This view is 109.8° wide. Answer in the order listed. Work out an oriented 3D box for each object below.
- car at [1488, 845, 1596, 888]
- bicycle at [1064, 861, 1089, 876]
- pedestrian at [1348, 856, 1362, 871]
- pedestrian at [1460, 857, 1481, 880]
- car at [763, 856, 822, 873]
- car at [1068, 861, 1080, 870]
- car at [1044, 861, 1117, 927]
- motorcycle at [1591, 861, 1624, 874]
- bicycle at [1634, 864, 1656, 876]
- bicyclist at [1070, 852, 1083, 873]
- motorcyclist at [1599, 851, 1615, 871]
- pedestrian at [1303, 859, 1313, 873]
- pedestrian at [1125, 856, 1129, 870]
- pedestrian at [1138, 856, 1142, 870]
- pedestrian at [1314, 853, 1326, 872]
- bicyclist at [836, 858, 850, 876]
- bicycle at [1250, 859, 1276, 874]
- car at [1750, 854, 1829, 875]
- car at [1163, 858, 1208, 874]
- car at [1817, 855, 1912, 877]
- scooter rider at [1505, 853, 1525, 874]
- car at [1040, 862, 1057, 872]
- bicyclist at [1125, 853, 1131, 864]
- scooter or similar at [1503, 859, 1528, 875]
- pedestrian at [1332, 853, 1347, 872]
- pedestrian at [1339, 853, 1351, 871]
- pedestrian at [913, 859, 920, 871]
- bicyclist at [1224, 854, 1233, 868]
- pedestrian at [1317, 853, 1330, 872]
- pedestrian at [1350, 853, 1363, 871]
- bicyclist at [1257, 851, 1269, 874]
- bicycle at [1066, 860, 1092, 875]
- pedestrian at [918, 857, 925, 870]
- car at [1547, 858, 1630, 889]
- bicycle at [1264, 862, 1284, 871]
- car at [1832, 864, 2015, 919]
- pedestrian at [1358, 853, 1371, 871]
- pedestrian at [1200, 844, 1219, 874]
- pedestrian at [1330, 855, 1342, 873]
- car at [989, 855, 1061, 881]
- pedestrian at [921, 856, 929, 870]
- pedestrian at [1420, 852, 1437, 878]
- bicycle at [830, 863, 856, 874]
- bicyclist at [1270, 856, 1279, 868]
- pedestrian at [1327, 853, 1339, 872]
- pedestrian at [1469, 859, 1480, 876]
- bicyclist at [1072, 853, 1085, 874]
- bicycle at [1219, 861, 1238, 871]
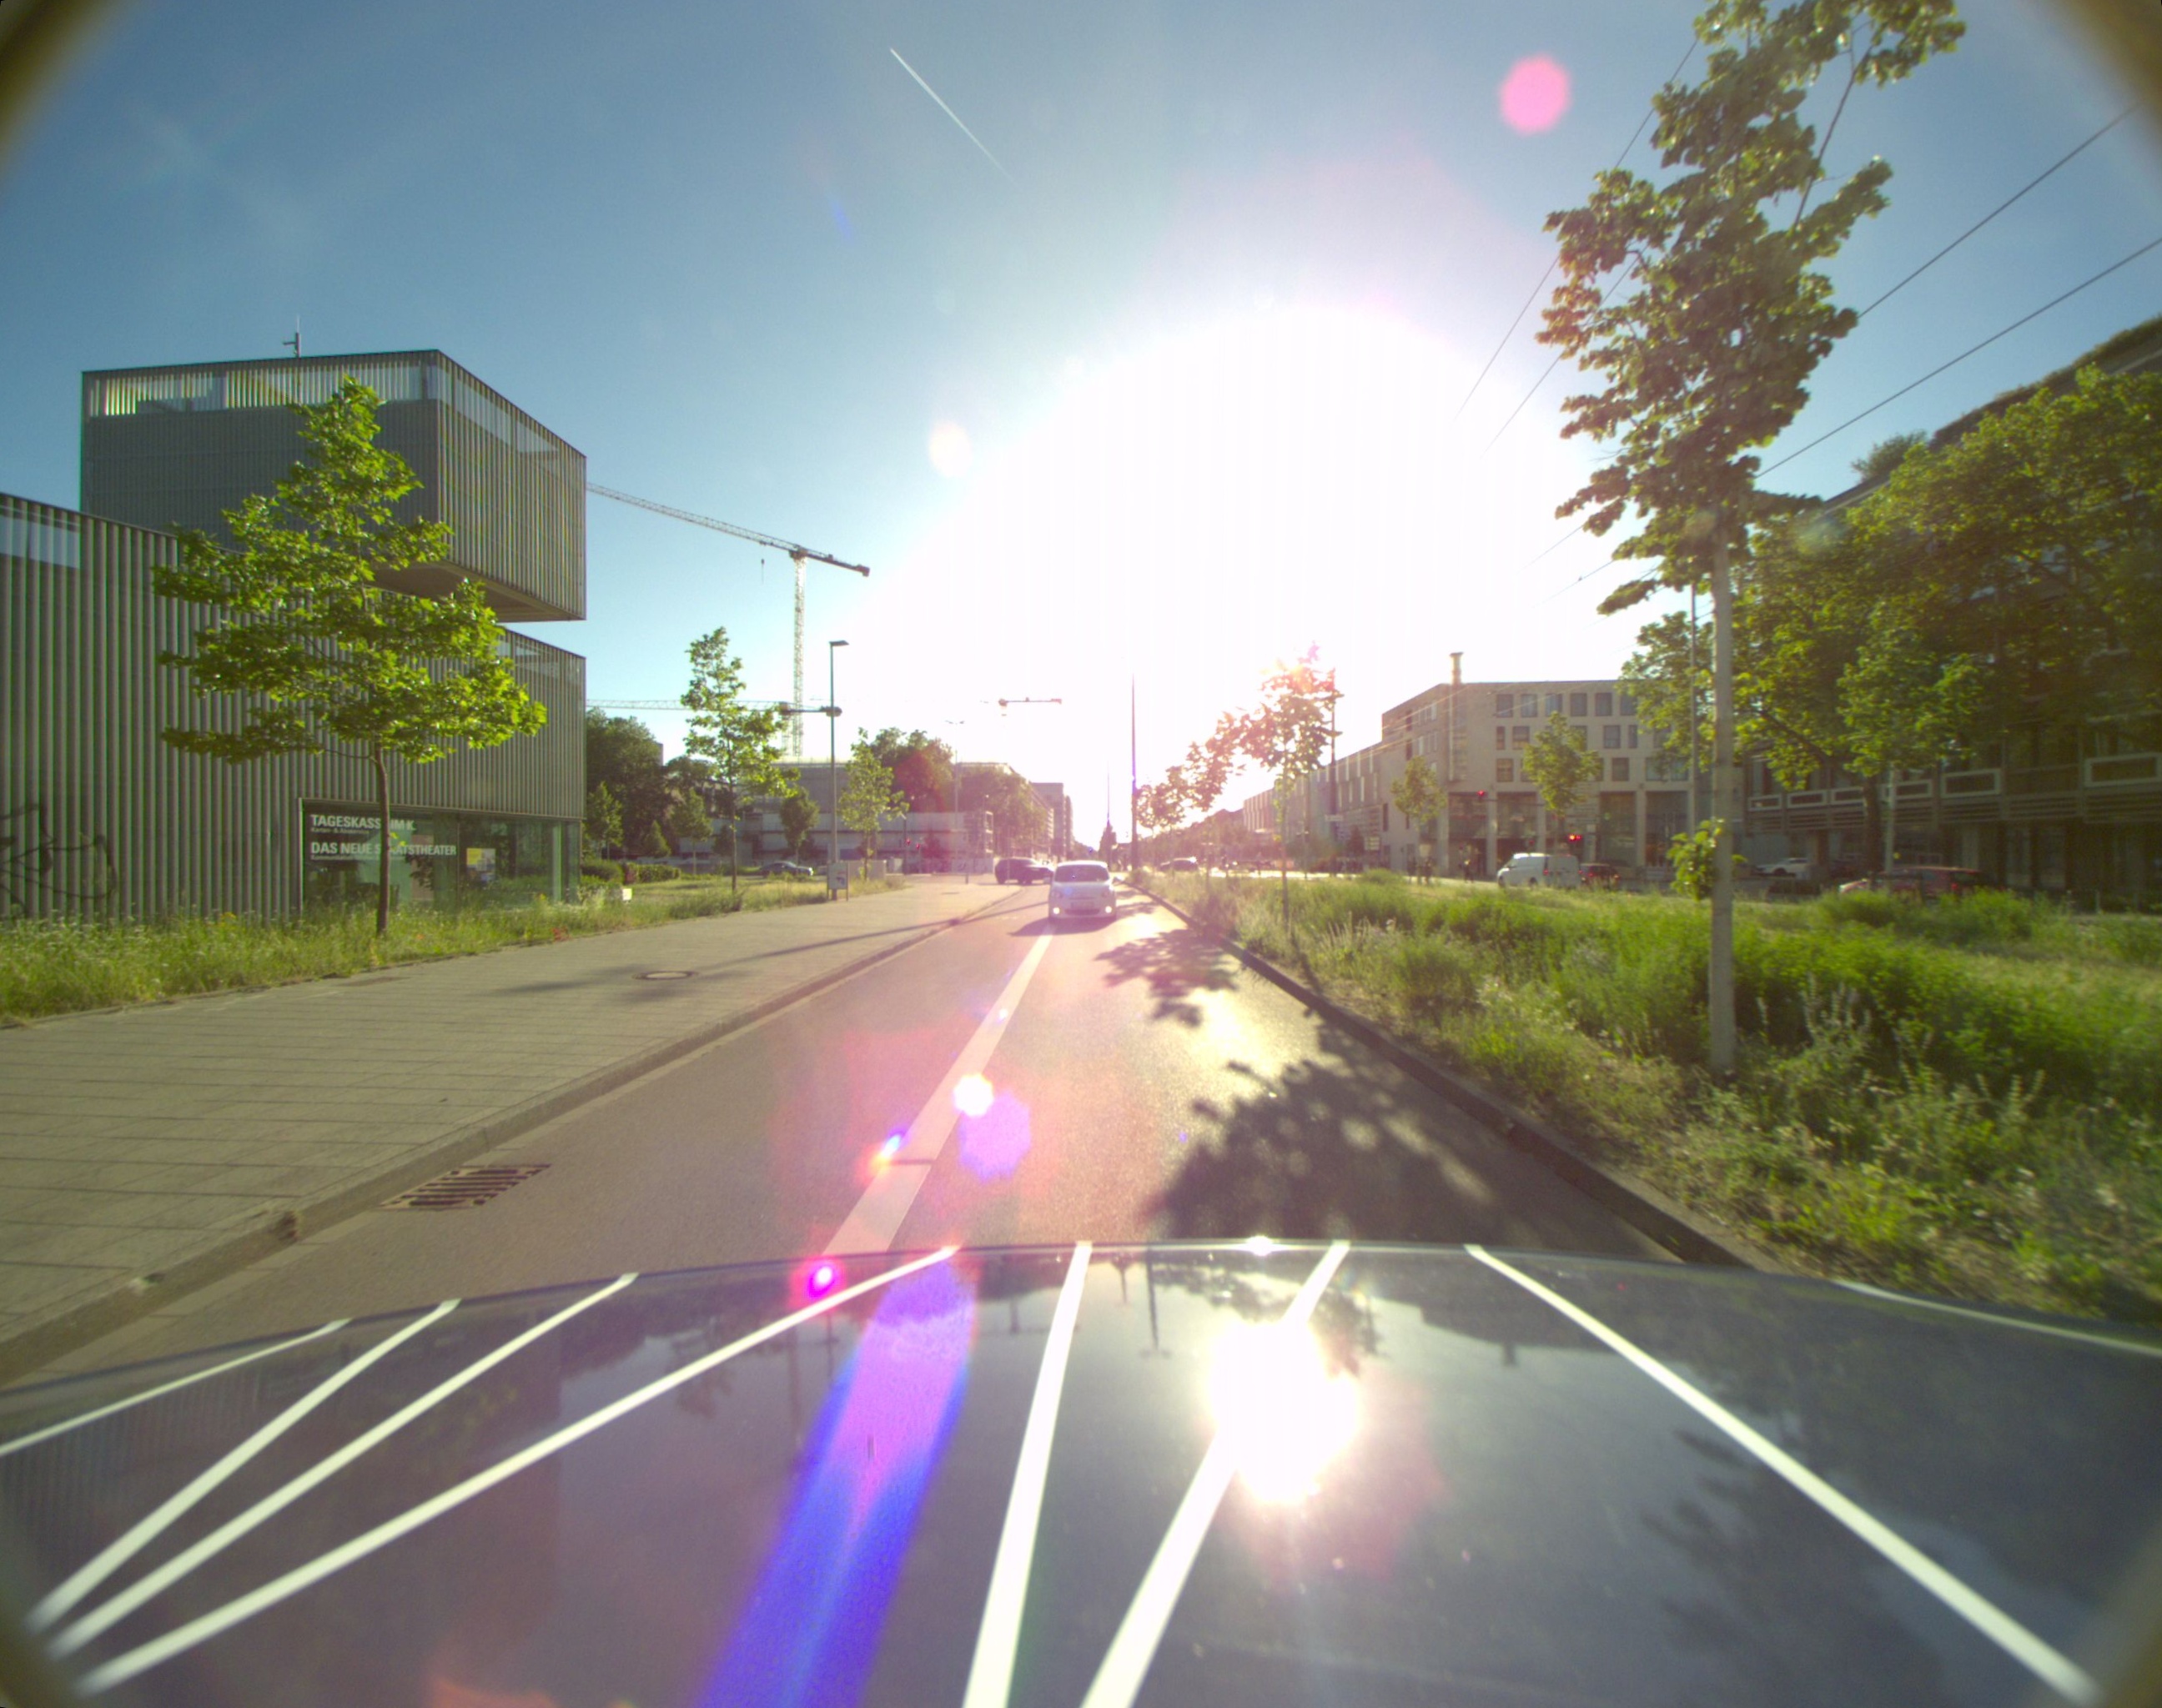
[{"bbox_3d":[23.802,0.606,39.592,2.264,2.002,5.710,2,0,2],"label":"car"},{"bbox_3d":[-0.330,1.061,57.001,1.816,1.110,0.625,0,0,-10],"label":"bicycle"},{"bbox_3d":[29.883,1.062,82.872,0.950,1.641,1.005,-1,1,-35],"label":"pedestrian"},{"bbox_3d":[26.416,0.971,51.519,0.923,1.540,0.898,-2,0,0],"label":"pedestrian"},{"bbox_3d":[-25.003,0.904,65.902,4.520,1.344,1.777,0,1,8],"label":"car"},{"bbox_3d":[-1.098,1.759,117.450,1.784,1.317,3.999,0,1,1],"label":"car"},{"bbox_3d":[0.077,0.957,19.691,1.659,1.463,3.969,-1,0,3],"label":"car"},{"bbox_3d":[40.722,1.055,58.746,1.955,0.963,0.758,0,1,20],"label":"motorcycle"},{"bbox_3d":[57.353,1.607,77.270,0.683,1.104,2.477,0,0,8],"label":"bicycle"},{"bbox_3d":[-0.321,0.641,57.004,0.895,1.566,0.625,0,0,-13],"label":"bicyclist"},{"bbox_3d":[40.659,0.544,58.755,0.880,1.475,0.758,0,1,20],"label":"motorcyclist"},{"bbox_3d":[25.063,1.293,83.772,0.943,1.562,0.843,0,1,24],"label":"pedestrian"},{"bbox_3d":[5.298,1.048,86.994,0.450,1.557,0.520,-1,0,7],"label":"pedestrian"},{"bbox_3d":[6.853,1.068,87.718,0.450,1.557,0.520,-1,0,7],"label":"pedestrian"},{"bbox_3d":[26.852,0.958,85.332,0.948,2.111,0.896,0,1,-28],"label":"pedestrian"},{"bbox_3d":[-20.039,1.058,63.954,0.937,1.495,0.624,0,1,-1],"label":"bicyclist"},{"bbox_3d":[13.329,0.907,55.682,1.798,1.087,0.709,0,0,7],"label":"bicycle"},{"bbox_3d":[60.909,0.909,65.382,4.544,1.703,2.126,0,2,10],"label":"car"},{"bbox_3d":[10.238,1.162,74.694,4.289,1.571,1.945,0,0,5],"label":"car"},{"bbox_3d":[60.179,0.881,58.441,4.786,1.652,2.202,0,0,6],"label":"car"},{"bbox_3d":[32.052,0.690,56.084,1.116,1.535,0.644,0,1,4],"label":"scooter rider"},{"bbox_3d":[-4.449,1.761,103.958,1.998,1.368,4.001,-1,0,2],"label":"car"},{"bbox_3d":[6.468,0.619,104.227,0.755,1.496,0.618,0,0,3],"label":"bicyclist"},{"bbox_3d":[32.057,0.974,56.094,1.482,1.169,0.644,0,1,4],"label":"scooter or similar"},{"bbox_3d":[28.421,0.914,83.584,1.100,2.116,1.060,-1,1,-36],"label":"pedestrian"},{"bbox_3d":[30.105,0.911,86.692,0.948,2.111,0.896,0,1,-27],"label":"pedestrian"},{"bbox_3d":[-19.616,1.317,90.570,0.653,1.445,0.604,0,0,7],"label":"pedestrian"},{"bbox_3d":[16.163,0.752,83.250,0.940,1.536,0.649,-1,0,7],"label":"bicyclist"},{"bbox_3d":[26.786,0.951,83.969,0.949,2.111,0.896,0,1,-36],"label":"pedestrian"},{"bbox_3d":[30.880,0.916,85.261,1.025,2.002,0.915,0,1,-31],"label":"pedestrian"},{"bbox_3d":[13.325,0.600,55.670,0.785,1.659,0.702,0,0,7],"label":"bicyclist"},{"bbox_3d":[-0.146,1.023,56.172,1.800,1.087,0.652,0,0,-9],"label":"bicycle"},{"bbox_3d":[-19.181,1.146,91.328,0.653,1.579,0.841,0,0,7],"label":"pedestrian"},{"bbox_3d":[26.939,0.983,40.506,1.844,1.477,3.881,3,0,2],"label":"car"},{"bbox_3d":[22.134,1.442,87.026,2.075,0.922,0.805,-1,0,2],"label":"bicycle"},{"bbox_3d":[26.094,1.112,23.725,1.715,1.444,3.576,3,0,1],"label":"car"},{"bbox_3d":[32.151,0.872,86.081,1.025,2.002,0.915,0,1,-33],"label":"pedestrian"},{"bbox_3d":[8.143,0.314,48.263,1.050,1.900,1.015,0,0,3],"label":"pedestrian"},{"bbox_3d":[29.354,1.117,87.410,0.948,2.111,0.896,0,1,-24],"label":"pedestrian"},{"bbox_3d":[-3.717,0.881,49.815,4.778,1.652,2.004,0,0,43],"label":"car"},{"bbox_3d":[-18.959,1.077,92.260,0.653,1.670,0.841,0,0,7],"label":"pedestrian"},{"bbox_3d":[22.975,0.724,50.216,0.739,1.734,0.858,-1,0,-1],"label":"pedestrian"},{"bbox_3d":[-20.029,1.239,63.954,1.909,0.903,0.624,0,1,-1],"label":"bicycle"},{"bbox_3d":[22.120,0.916,87.024,0.841,1.349,0.805,-1,1,2],"label":"bicyclist"},{"bbox_3d":[28.320,0.909,85.375,0.948,2.111,0.896,0,1,-30],"label":"pedestrian"},{"bbox_3d":[39.972,1.357,77.160,0.756,1.730,0.753,0,1,5],"label":"pedestrian"},{"bbox_3d":[-0.193,0.668,56.162,0.847,1.534,0.652,0,0,-9],"label":"bicyclist"},{"bbox_3d":[16.176,1.323,83.247,1.976,0.991,0.649,-1,0,7],"label":"bicycle"}]
